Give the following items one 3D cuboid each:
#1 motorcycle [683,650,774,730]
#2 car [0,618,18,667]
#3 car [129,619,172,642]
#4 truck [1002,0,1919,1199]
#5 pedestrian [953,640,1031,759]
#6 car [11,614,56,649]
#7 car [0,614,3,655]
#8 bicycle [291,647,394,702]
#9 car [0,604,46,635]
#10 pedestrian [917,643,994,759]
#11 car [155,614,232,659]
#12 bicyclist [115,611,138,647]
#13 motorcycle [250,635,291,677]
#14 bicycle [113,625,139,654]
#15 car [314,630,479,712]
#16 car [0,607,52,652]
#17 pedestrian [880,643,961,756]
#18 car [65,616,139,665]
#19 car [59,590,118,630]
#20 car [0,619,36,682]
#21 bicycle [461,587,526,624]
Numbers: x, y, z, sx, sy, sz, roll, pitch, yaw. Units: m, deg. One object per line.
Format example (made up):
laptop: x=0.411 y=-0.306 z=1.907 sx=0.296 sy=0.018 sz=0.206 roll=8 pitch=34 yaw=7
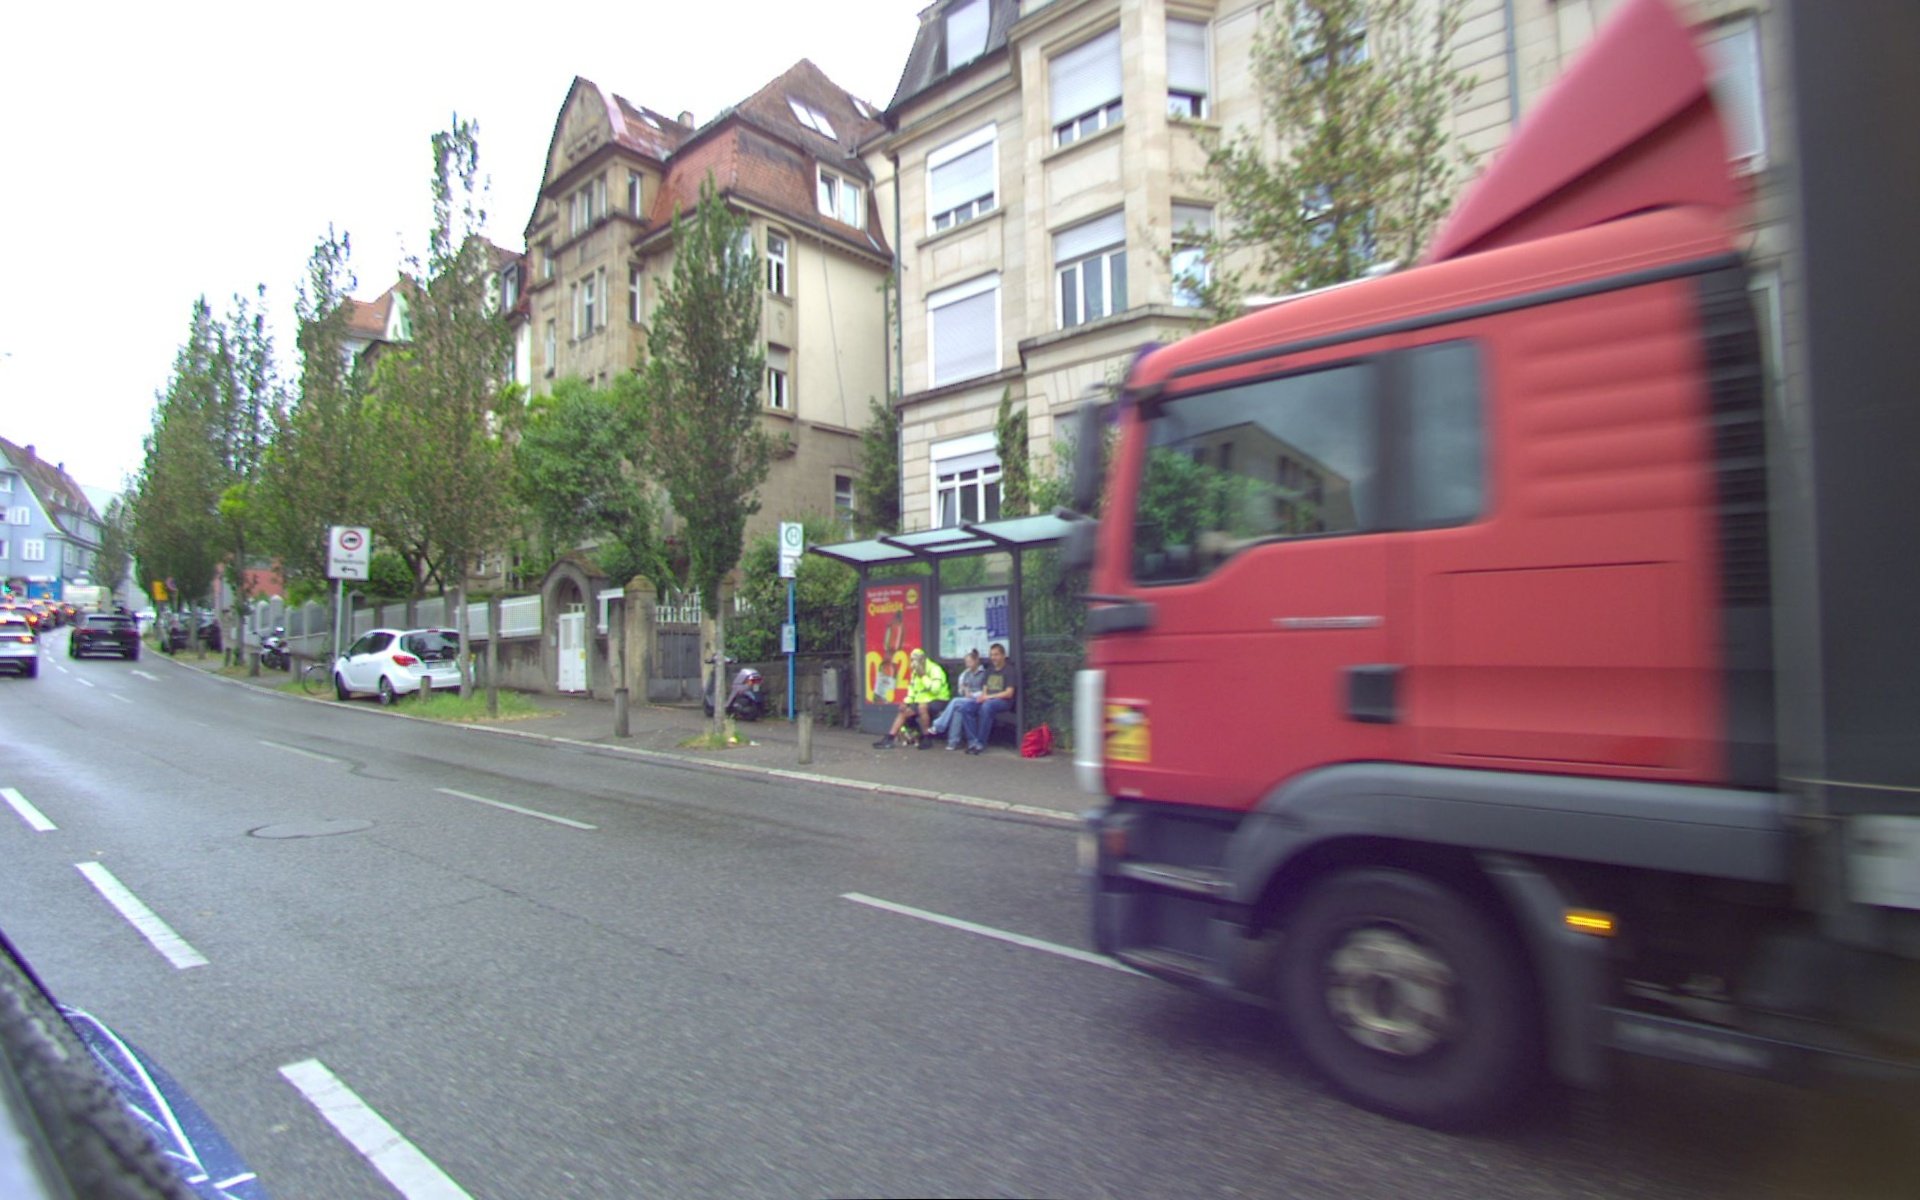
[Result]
motorcycle: x=-3.933 y=1.484 z=17.119 sx=1.763 sy=1.246 sz=0.648 roll=-2 pitch=-3 yaw=45
car: x=-30.447 y=1.283 z=31.384 sx=1.742 sy=1.442 sz=3.889 roll=2 pitch=-2 yaw=-43
car: x=-77.728 y=2.982 z=97.250 sx=2.100 sy=2.042 sz=5.425 roll=4 pitch=-4 yaw=-28
truck: x=4.546 y=-0.446 z=1.628 sx=9.300 sy=3.884 sz=2.620 roll=-2 pitch=-5 yaw=41
pedestrian: x=0.408 y=1.237 z=12.883 sx=0.649 sy=1.443 sz=0.757 roll=-2 pitch=-3 yaw=43
car: x=-49.962 y=1.698 z=54.569 sx=1.632 sy=1.721 sz=4.118 roll=5 pitch=-3 yaw=-42
car: x=-35.330 y=1.216 z=36.029 sx=1.691 sy=1.491 sz=4.118 roll=5 pitch=-5 yaw=-42
bicycle: x=-14.659 y=1.743 z=24.085 sx=0.657 sy=1.245 sz=1.955 roll=-1 pitch=-3 yaw=41
car: x=-54.556 y=1.176 z=58.803 sx=1.597 sy=1.674 sz=4.123 roll=4 pitch=-4 yaw=-36
pedestrian: x=-0.051 y=1.287 z=13.199 sx=0.649 sy=1.443 sz=0.757 roll=-2 pitch=-3 yaw=43
car: x=-30.488 y=1.408 z=40.213 sx=1.973 sy=1.607 sz=3.831 roll=-2 pitch=1 yaw=-44
bicyclist: x=-36.584 y=1.284 z=44.425 sx=0.991 sy=1.568 sz=0.648 roll=-2 pitch=-3 yaw=45
motorcycle: x=-21.145 y=1.707 z=31.029 sx=1.983 sy=1.245 sz=0.648 roll=-2 pitch=-3 yaw=45
bicycle: x=-36.603 y=1.721 z=44.423 sx=0.648 sy=1.245 sz=1.983 roll=3 pitch=-3 yaw=-45
car: x=-12.464 y=1.480 z=22.274 sx=4.298 sy=1.571 sz=1.724 roll=-1 pitch=-1 yaw=39
car: x=-38.504 y=1.200 z=41.605 sx=1.632 sy=1.721 sz=4.118 roll=5 pitch=-3 yaw=-42
pedestrian: x=-0.528 y=1.299 z=13.532 sx=0.759 sy=1.443 sz=0.758 roll=-1 pitch=-3 yaw=41
car: x=-30.343 y=1.406 z=35.756 sx=1.723 sy=1.529 sz=3.873 roll=6 pitch=-4 yaw=-43
car: x=-61.340 y=0.751 z=71.319 sx=2.101 sy=2.525 sz=5.424 roll=4 pitch=-4 yaw=-31
car: x=-25.114 y=1.261 z=26.016 sx=4.101 sy=1.529 sz=1.752 roll=-1 pitch=-3 yaw=44
bicycle: x=-16.520 y=0.200 z=35.868 sx=0.657 sy=1.245 sz=1.955 roll=-1 pitch=-3 yaw=41
